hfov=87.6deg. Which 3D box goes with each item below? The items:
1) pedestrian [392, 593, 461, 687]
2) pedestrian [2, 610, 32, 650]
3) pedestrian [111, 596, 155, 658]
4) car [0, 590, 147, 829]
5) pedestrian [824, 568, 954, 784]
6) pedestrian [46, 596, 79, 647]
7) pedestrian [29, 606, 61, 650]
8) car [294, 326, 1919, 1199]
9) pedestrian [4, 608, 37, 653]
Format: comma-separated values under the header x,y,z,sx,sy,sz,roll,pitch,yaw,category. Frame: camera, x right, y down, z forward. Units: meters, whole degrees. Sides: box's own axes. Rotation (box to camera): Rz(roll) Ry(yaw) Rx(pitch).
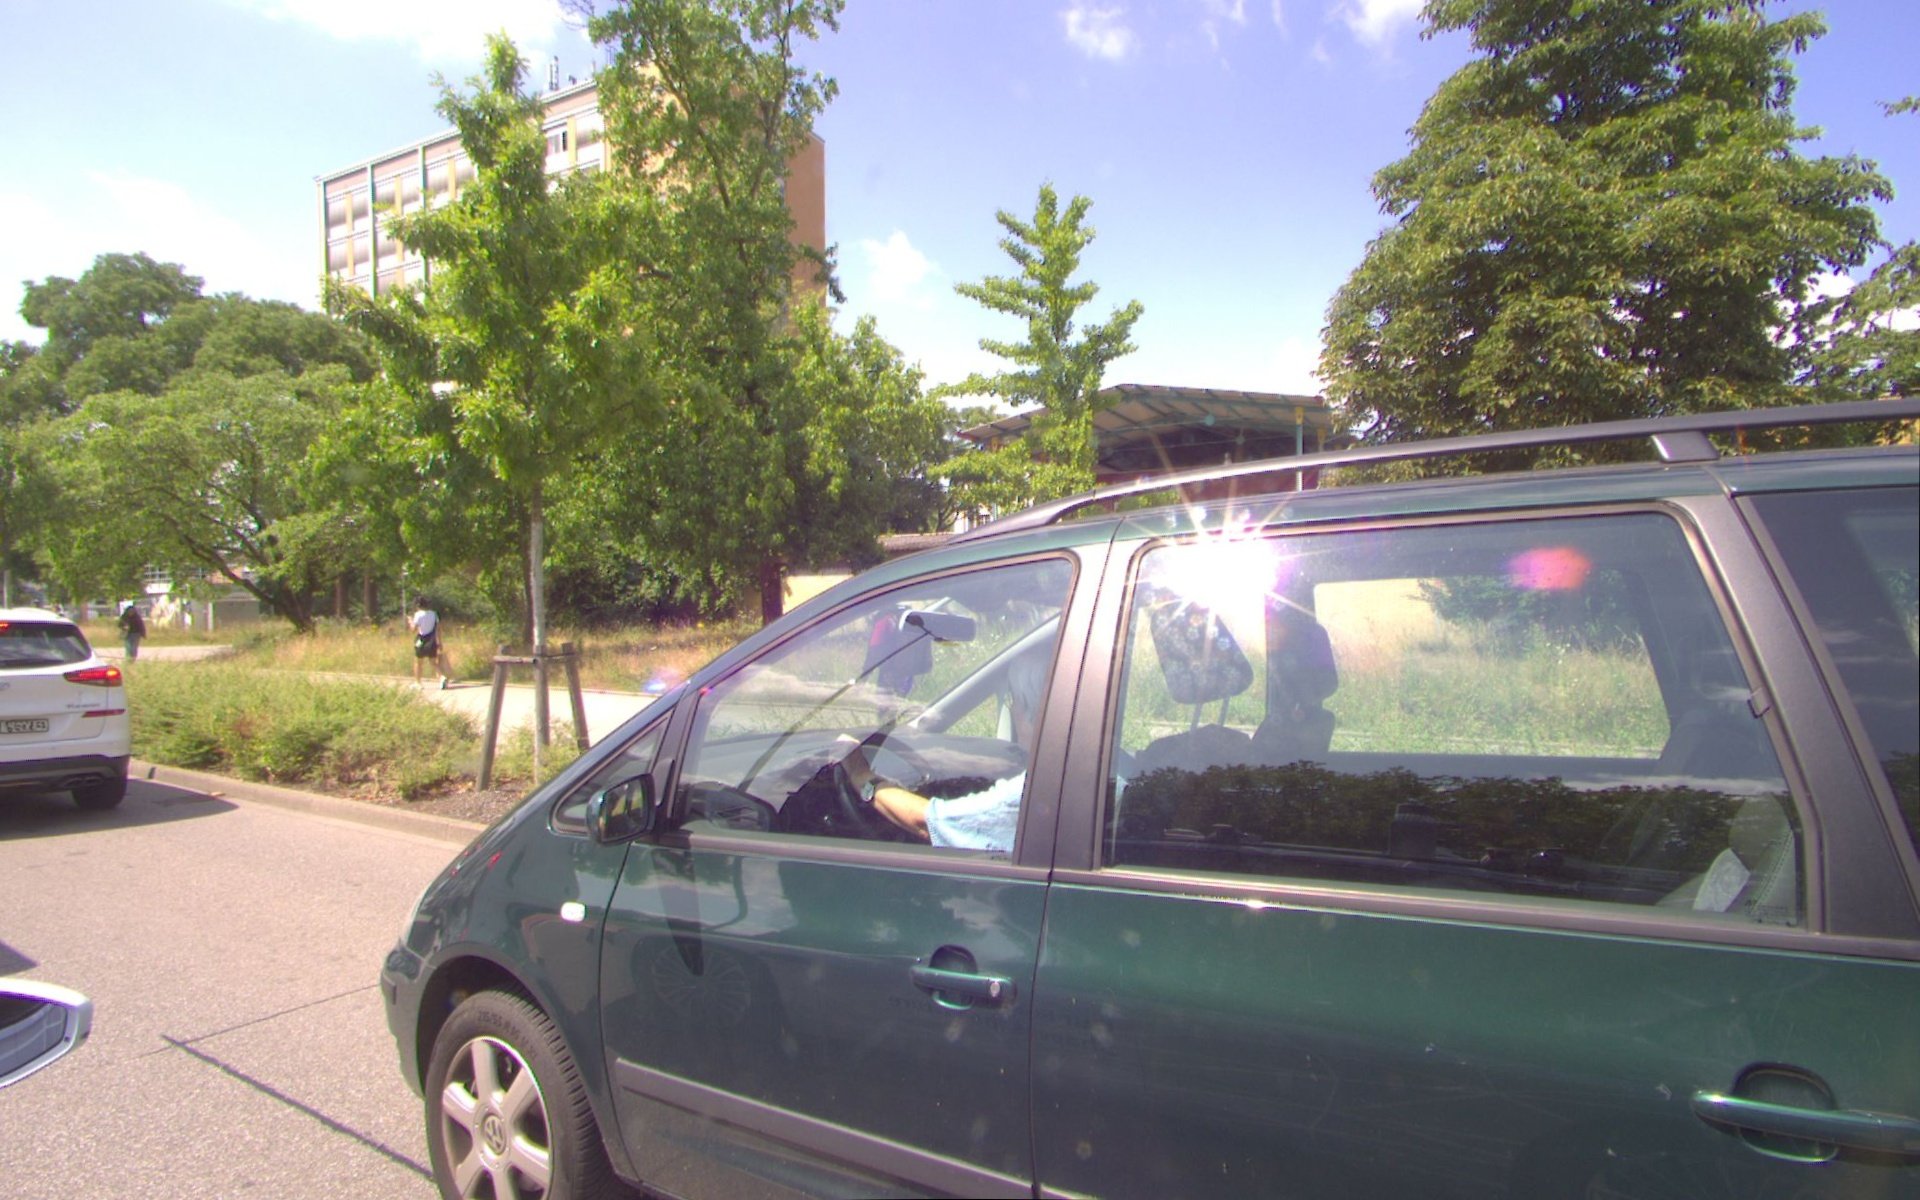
x,y,z,sx,sy,sz,roll,pitch,yaw,category
-9.219,0.675,17.319,0.804,1.578,0.757,0,1,32,pedestrian
-45.067,1.435,47.878,0.802,1.874,0.759,0,1,20,pedestrian
-22.923,0.743,27.760,0.805,1.677,0.756,0,1,36,pedestrian
-8.487,0.791,8.183,3.919,1.700,1.810,0,0,34,car
-0.603,0.605,8.466,0.807,1.706,0.754,0,1,44,pedestrian
-32.644,0.766,36.408,0.806,1.813,0.756,0,0,37,pedestrian
-39.722,1.203,43.477,0.803,1.874,0.759,0,0,24,pedestrian
0.552,0.637,2.276,4.329,1.737,1.799,0,-2,32,car
-39.968,1.279,42.589,0.802,1.874,0.759,0,1,22,pedestrian
